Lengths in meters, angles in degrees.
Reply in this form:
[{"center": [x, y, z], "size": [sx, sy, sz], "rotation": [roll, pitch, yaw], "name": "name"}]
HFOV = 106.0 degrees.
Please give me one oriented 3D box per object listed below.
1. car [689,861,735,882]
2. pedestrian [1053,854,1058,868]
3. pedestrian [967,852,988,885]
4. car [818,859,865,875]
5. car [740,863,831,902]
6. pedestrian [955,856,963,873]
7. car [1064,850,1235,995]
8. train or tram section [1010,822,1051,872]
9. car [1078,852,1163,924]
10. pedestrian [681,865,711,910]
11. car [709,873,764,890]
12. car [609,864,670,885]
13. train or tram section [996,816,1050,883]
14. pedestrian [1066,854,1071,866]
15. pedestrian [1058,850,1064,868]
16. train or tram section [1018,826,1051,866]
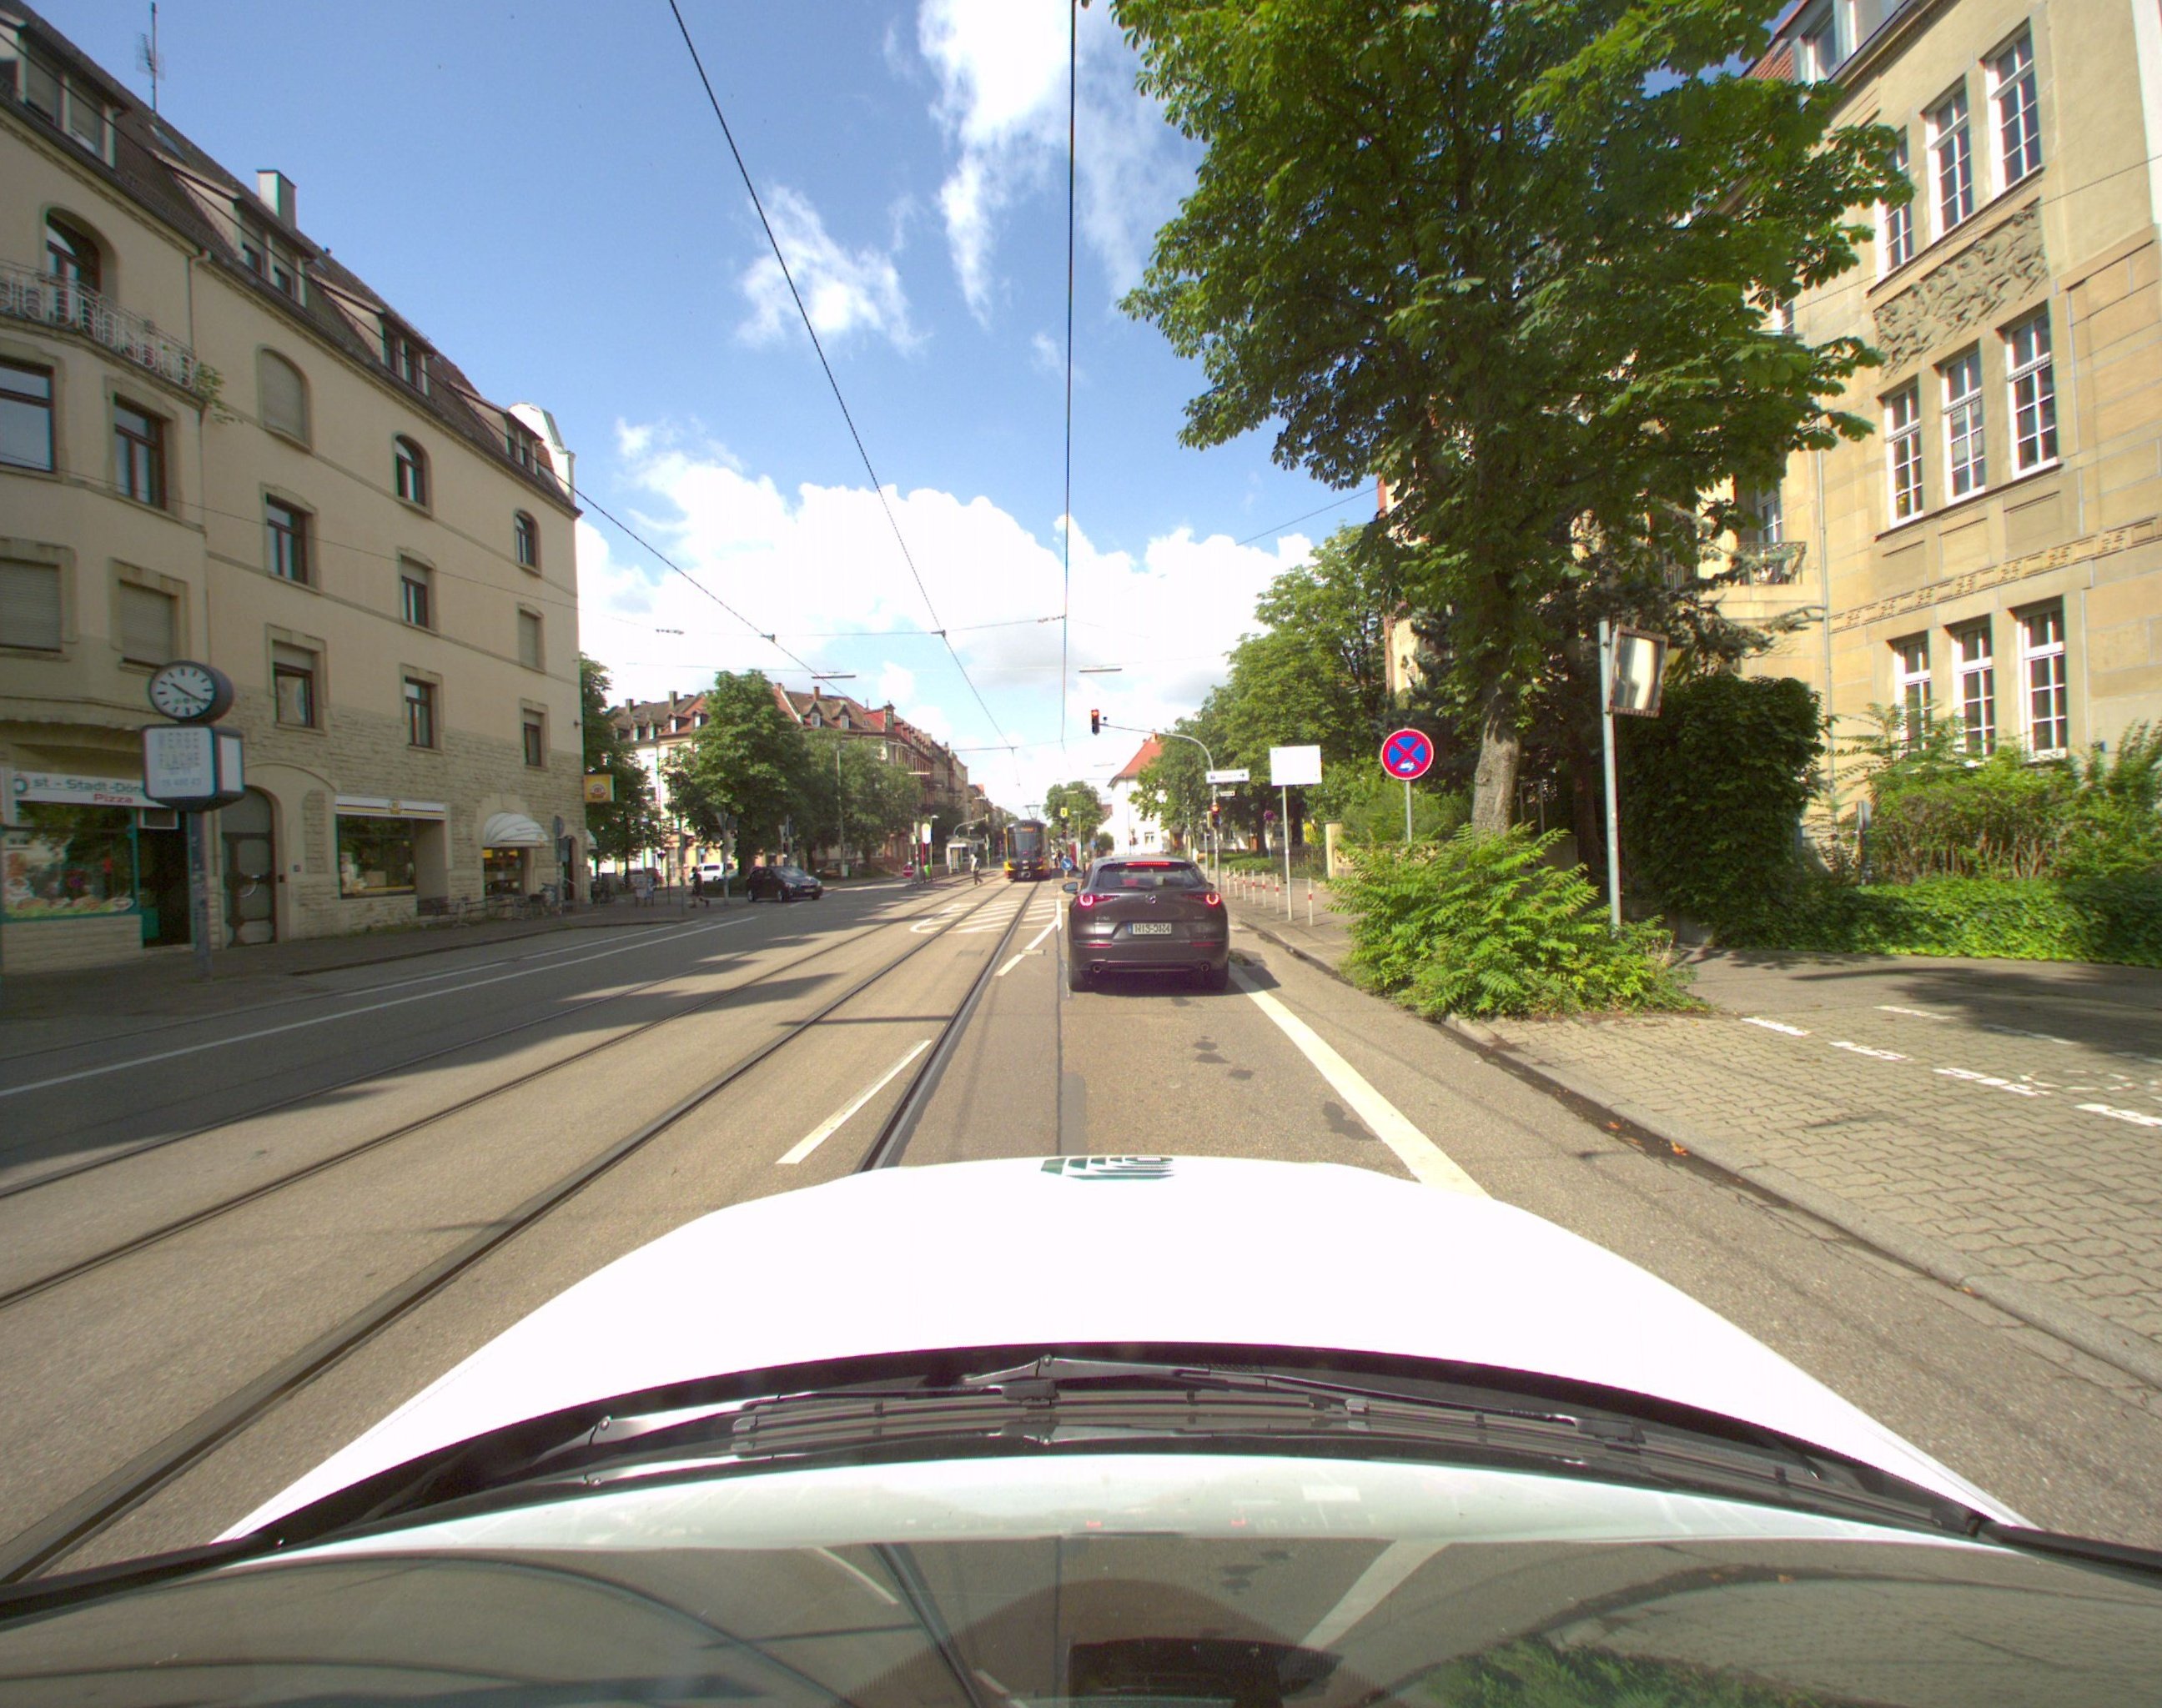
[{"center": [-36.752, 1.776, 81.035], "size": [3.950, 1.903, 2.012], "rotation": [-2, 0, 26], "name": "car"}, {"center": [-2.059, 0.579, 65.710], "size": [0.378, 1.071, 0.474], "rotation": [-2, 0, -1], "name": "pedestrian"}, {"center": [-5.454, 0.743, 42.928], "size": [0.710, 1.705, 0.829], "rotation": [-2, 0, 25], "name": "pedestrian"}, {"center": [-23.195, 1.265, 78.867], "size": [4.011, 1.360, 1.663], "rotation": [-2, 0, -29], "name": "car"}, {"center": [-12.933, 1.252, 35.555], "size": [4.015, 1.518, 1.773], "rotation": [-2, 0, 37], "name": "car"}, {"center": [-9.718, 0.838, 64.776], "size": [0.424, 1.399, 0.401], "rotation": [-2, 0, 32], "name": "pedestrian"}, {"center": [0.771, 0.709, 10.481], "size": [1.772, 1.499, 4.001], "rotation": [0, 0, 1], "name": "car"}, {"center": [-3.914, -0.596, 65.746], "size": [2.746, 3.490, 14.397], "rotation": [-2, 1, -2], "name": "train or tram section"}, {"center": [0.886, 0.705, 19.091], "size": [1.772, 1.499, 4.001], "rotation": [0, 0, 1], "name": "car"}, {"center": [-15.231, 1.320, 32.225], "size": [0.746, 1.684, 0.702], "rotation": [-2, 0, 11], "name": "pedestrian"}, {"center": [-29.411, 2.348, 69.603], "size": [1.657, 1.182, 4.024], "rotation": [-2, 0, 43], "name": "car"}, {"center": [-37.365, 1.732, 68.941], "size": [3.972, 1.596, 2.001], "rotation": [-3, 0, 2], "name": "car"}, {"center": [-3.398, -0.372, 51.387], "size": [2.746, 3.490, 14.397], "rotation": [-2, 1, -2], "name": "train or tram section"}, {"center": [-1.038, 0.479, 65.927], "size": [0.379, 0.984, 0.474], "rotation": [-2, 0, -3], "name": "pedestrian"}, {"center": [-1.606, 0.413, 65.891], "size": [0.449, 1.434, 0.474], "rotation": [-2, 0, -3], "name": "pedestrian"}, {"center": [-4.408, -0.841, 80.148], "size": [2.746, 3.490, 14.397], "rotation": [-2, 1, -2], "name": "train or tram section"}]
